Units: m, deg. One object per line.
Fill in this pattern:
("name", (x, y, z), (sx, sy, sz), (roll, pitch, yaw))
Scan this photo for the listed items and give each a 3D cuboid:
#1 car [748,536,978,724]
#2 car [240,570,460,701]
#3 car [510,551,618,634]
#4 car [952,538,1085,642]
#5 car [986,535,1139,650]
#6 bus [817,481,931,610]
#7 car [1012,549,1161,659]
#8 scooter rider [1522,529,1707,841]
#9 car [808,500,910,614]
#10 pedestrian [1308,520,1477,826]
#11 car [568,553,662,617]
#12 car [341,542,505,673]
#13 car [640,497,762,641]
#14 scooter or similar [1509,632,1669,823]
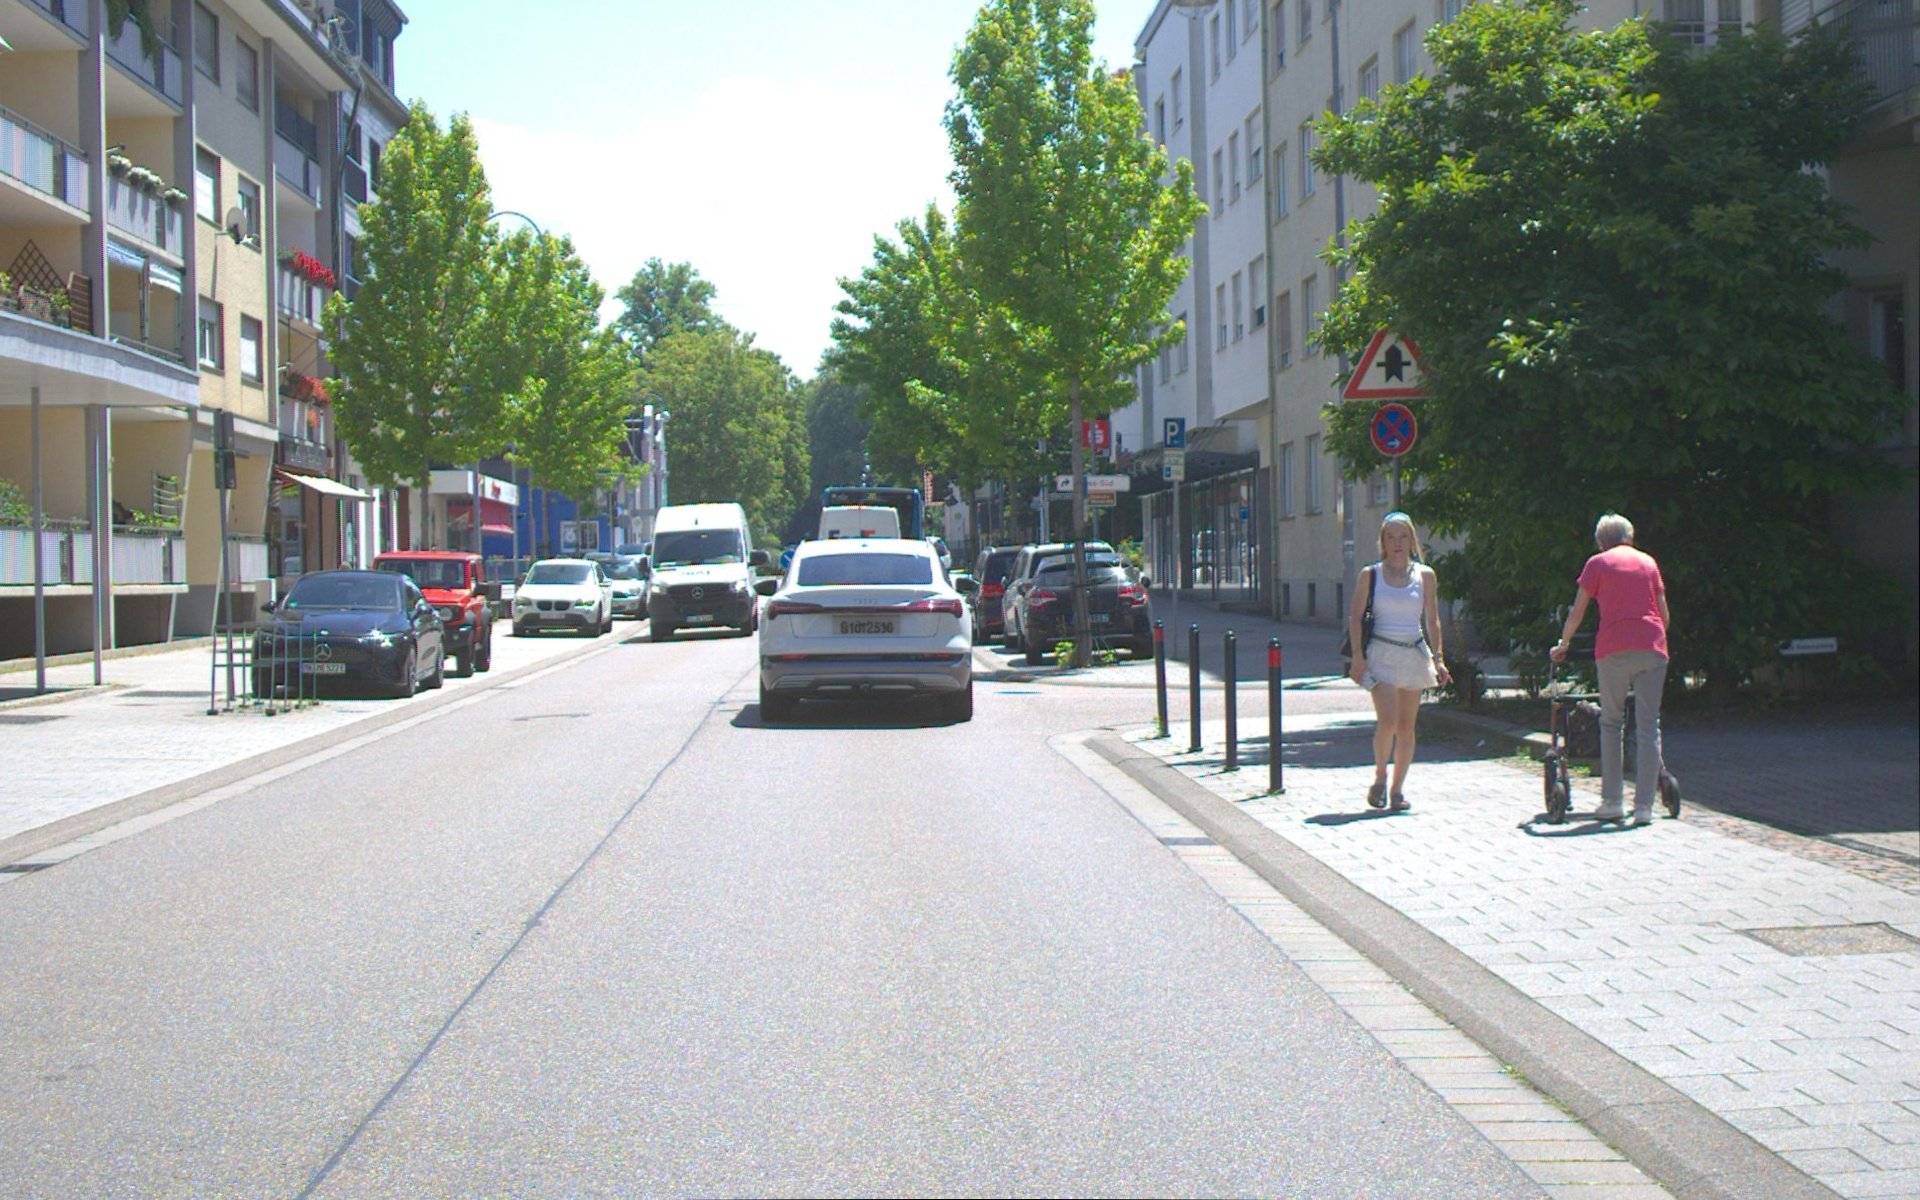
("car", (-0.951, 0.232, 31.967), (1.993, 1.627, 4.001), (0, 1, -3))
("car", (-7.204, 0.379, 41.081), (1.896, 1.412, 5.048), (1, 1, -2))
("car", (-8.127, -0.182, 70.852), (1.752, 1.612, 4.401), (1, 1, -1))
("car", (0.976, -0.204, 59.950), (1.855, 1.669, 4.538), (-3, 1, -4))
("car", (1.578, -0.154, 54.618), (1.896, 1.669, 4.691), (-3, 1, -4))
("bus", (-2.207, -1.392, 90.381), (2.661, 3.210, 7.301), (1, 0, 1))
("car", (1.732, 0.019, 48.480), (1.896, 1.433, 4.544), (-1, 1, 0))
("scooter rider", (3.358, 0.423, 17.680), (0.716, 1.543, 0.770), (-2, 1, -4))
("car", (-2.251, -0.947, 76.715), (2.156, 2.433, 5.284), (1, 0, -2))
("pedestrian", (2.395, 0.394, 19.110), (0.700, 1.621, 0.784), (-4, 0, -3))
("car", (-8.164, -0.383, 81.721), (1.752, 1.448, 4.401), (1, 1, 0))
("car", (-7.374, 0.073, 47.551), (1.752, 1.696, 4.102), (1, 1, -2))
("car", (-5.095, -0.647, 68.387), (2.036, 2.621, 7.108), (-3, 1, -2))
("scooter or similar", (3.352, 0.669, 18.367), (0.663, 0.960, 0.754), (-2, 1, -2))
